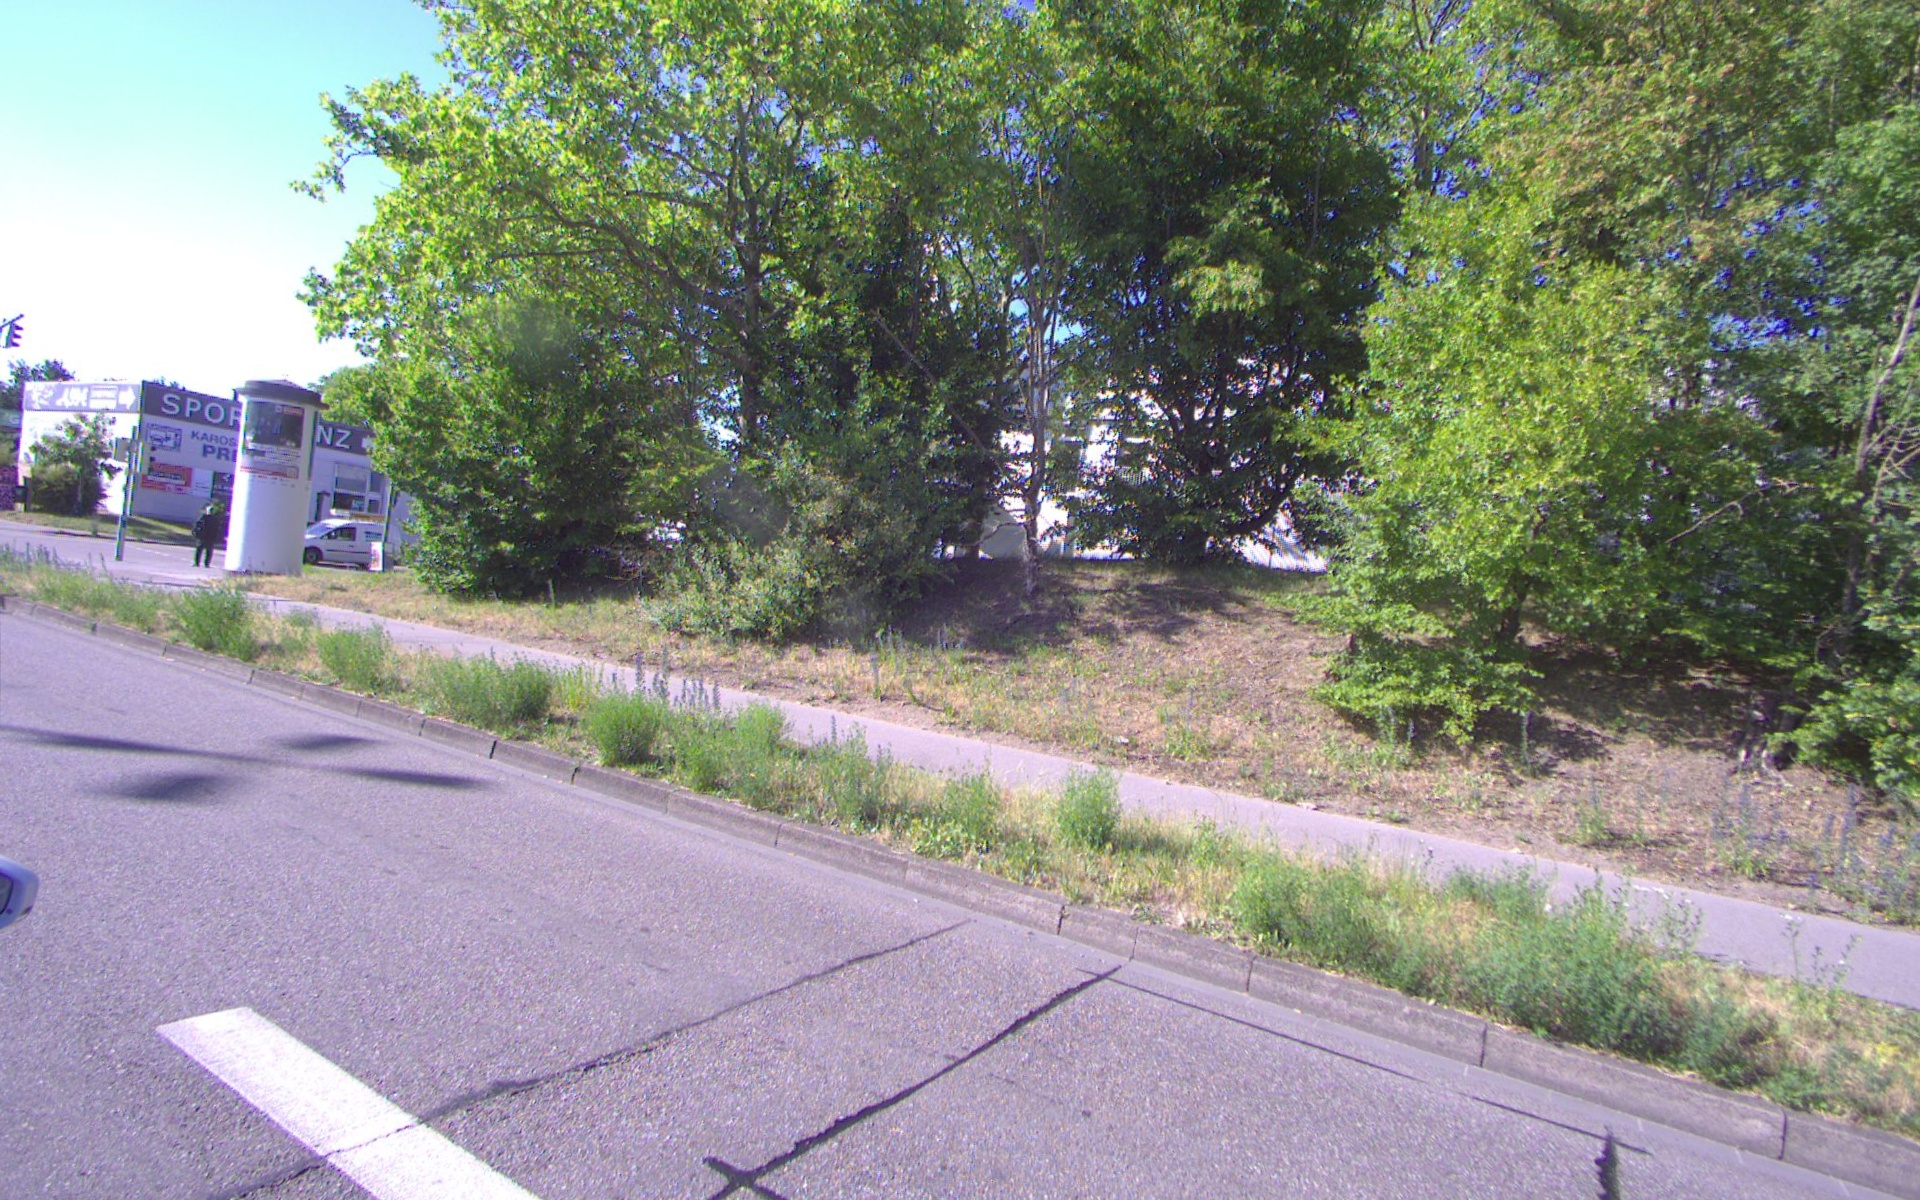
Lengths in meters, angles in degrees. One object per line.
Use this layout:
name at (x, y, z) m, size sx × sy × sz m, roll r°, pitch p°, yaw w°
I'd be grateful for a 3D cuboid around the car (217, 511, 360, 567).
car at (-26.617, -2.379, 40.011) m, size 1.735 × 1.568 × 4.292 m, roll 9°, pitch 1°, yaw 30°

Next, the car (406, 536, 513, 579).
car at (-22.995, -1.943, 46.335) m, size 1.752 × 1.509 × 4.046 m, roll 7°, pitch 1°, yaw 30°

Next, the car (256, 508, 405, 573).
car at (-23.841, -2.203, 38.263) m, size 1.735 × 1.824 × 4.387 m, roll 9°, pitch 1°, yaw 30°

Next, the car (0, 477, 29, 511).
car at (-46.886, -5.225, 47.091) m, size 1.828 × 1.472 × 4.490 m, roll 7°, pitch 1°, yaw 33°

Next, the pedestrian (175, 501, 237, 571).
pedestrian at (-21.024, -1.784, 28.060) m, size 0.923 × 1.755 × 0.927 m, roll 6°, pitch -1°, yaw 31°

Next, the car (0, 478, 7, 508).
car at (-49.237, -5.491, 48.461) m, size 1.828 × 1.472 × 4.490 m, roll 7°, pitch 1°, yaw 33°
